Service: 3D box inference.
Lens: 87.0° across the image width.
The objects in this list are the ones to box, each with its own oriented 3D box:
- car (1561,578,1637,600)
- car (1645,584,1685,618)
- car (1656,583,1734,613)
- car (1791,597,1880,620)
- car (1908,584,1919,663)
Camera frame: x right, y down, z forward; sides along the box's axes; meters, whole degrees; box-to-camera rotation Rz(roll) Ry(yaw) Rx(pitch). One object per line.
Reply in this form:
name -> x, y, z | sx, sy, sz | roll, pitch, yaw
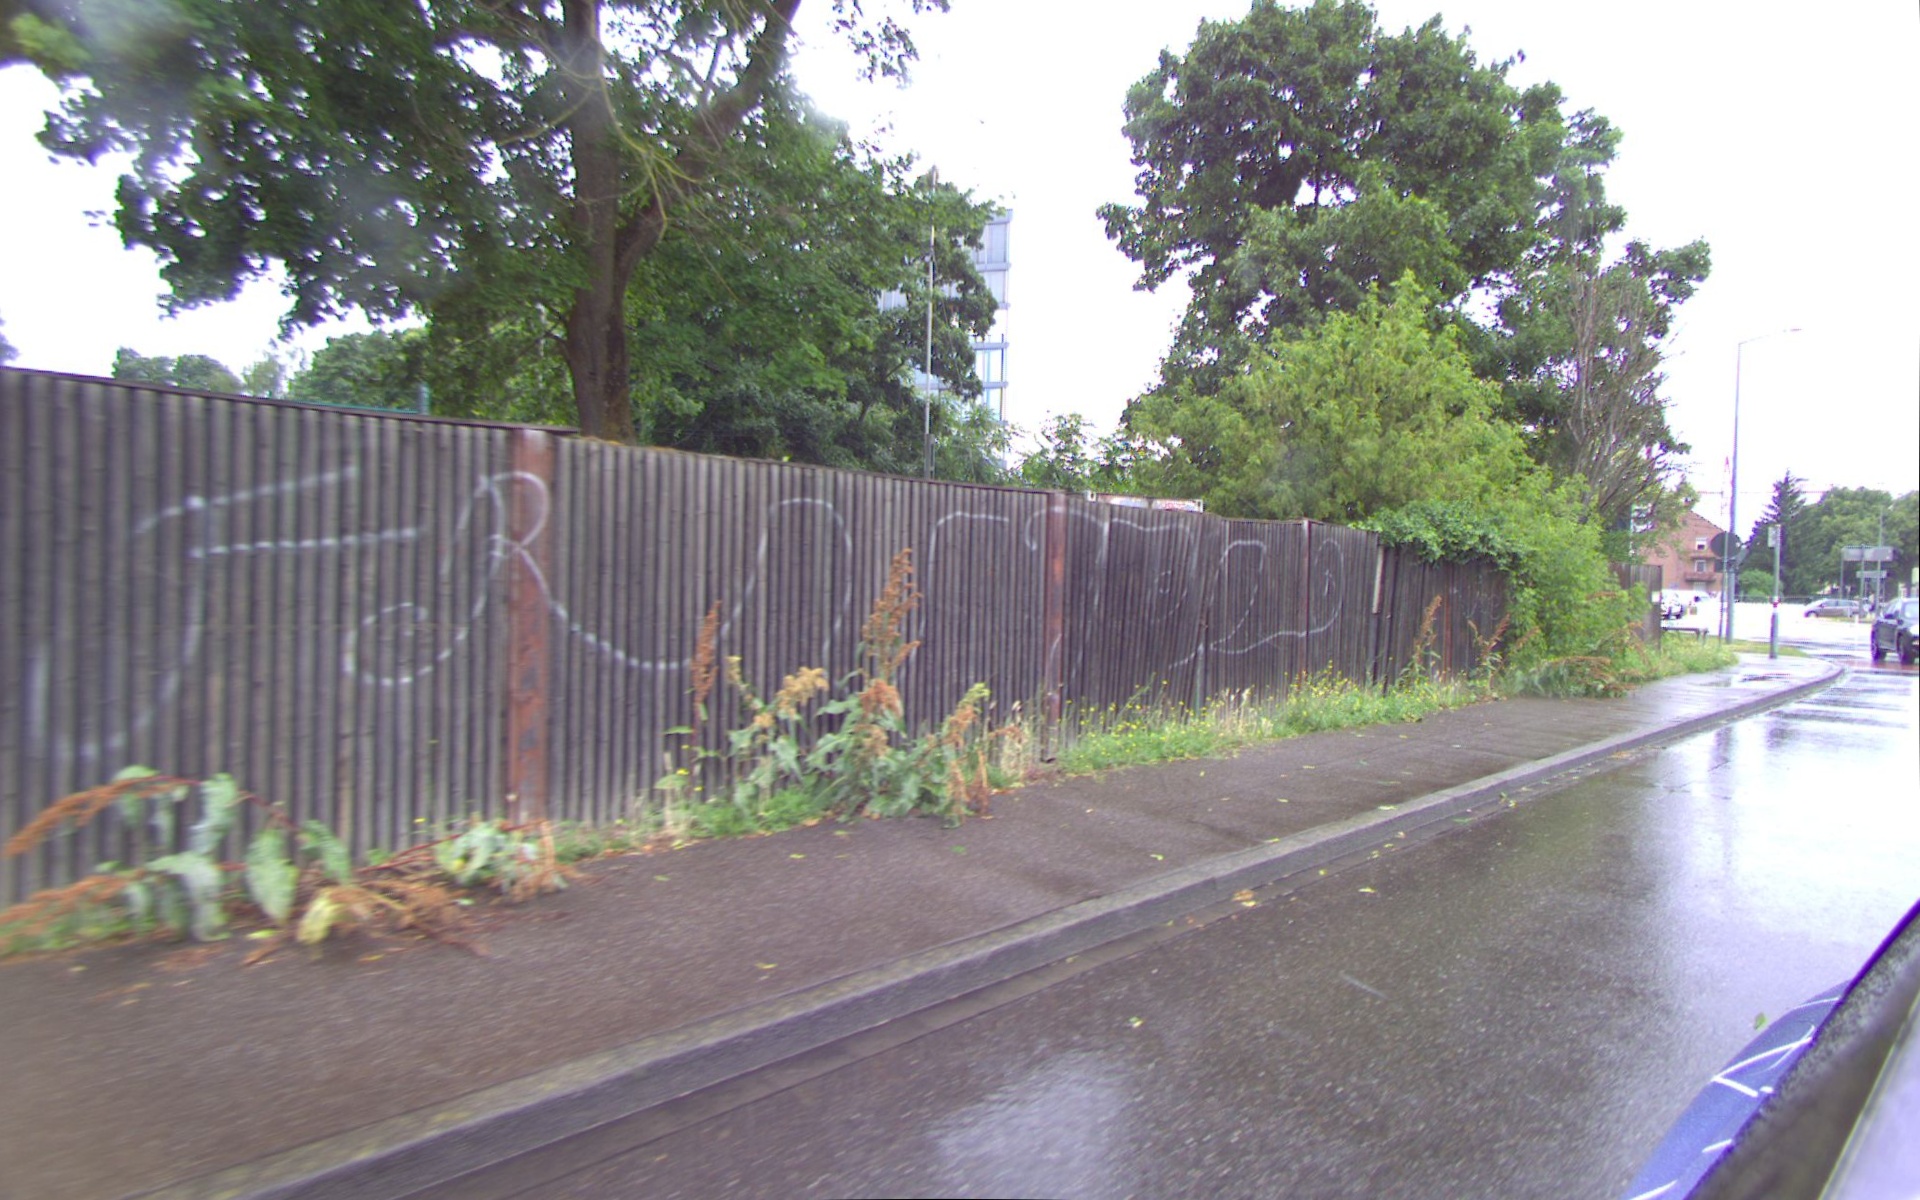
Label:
car -> 65.675, -1.153, 104.193 | 2.308, 2.038, 6.441 | -2, 3, -24
car -> 41.570, 0.002, 59.647 | 1.768, 1.765, 4.803 | 1, 3, 37
car -> 78.439, -0.251, 108.105 | 2.308, 2.975, 6.441 | -2, 3, -24
car -> 62.916, 0.614, 72.813 | 4.497, 1.510, 1.600 | 1, 3, 23
car -> 25.186, 0.559, 25.389 | 1.911, 1.767, 4.318 | 2, 3, 42
